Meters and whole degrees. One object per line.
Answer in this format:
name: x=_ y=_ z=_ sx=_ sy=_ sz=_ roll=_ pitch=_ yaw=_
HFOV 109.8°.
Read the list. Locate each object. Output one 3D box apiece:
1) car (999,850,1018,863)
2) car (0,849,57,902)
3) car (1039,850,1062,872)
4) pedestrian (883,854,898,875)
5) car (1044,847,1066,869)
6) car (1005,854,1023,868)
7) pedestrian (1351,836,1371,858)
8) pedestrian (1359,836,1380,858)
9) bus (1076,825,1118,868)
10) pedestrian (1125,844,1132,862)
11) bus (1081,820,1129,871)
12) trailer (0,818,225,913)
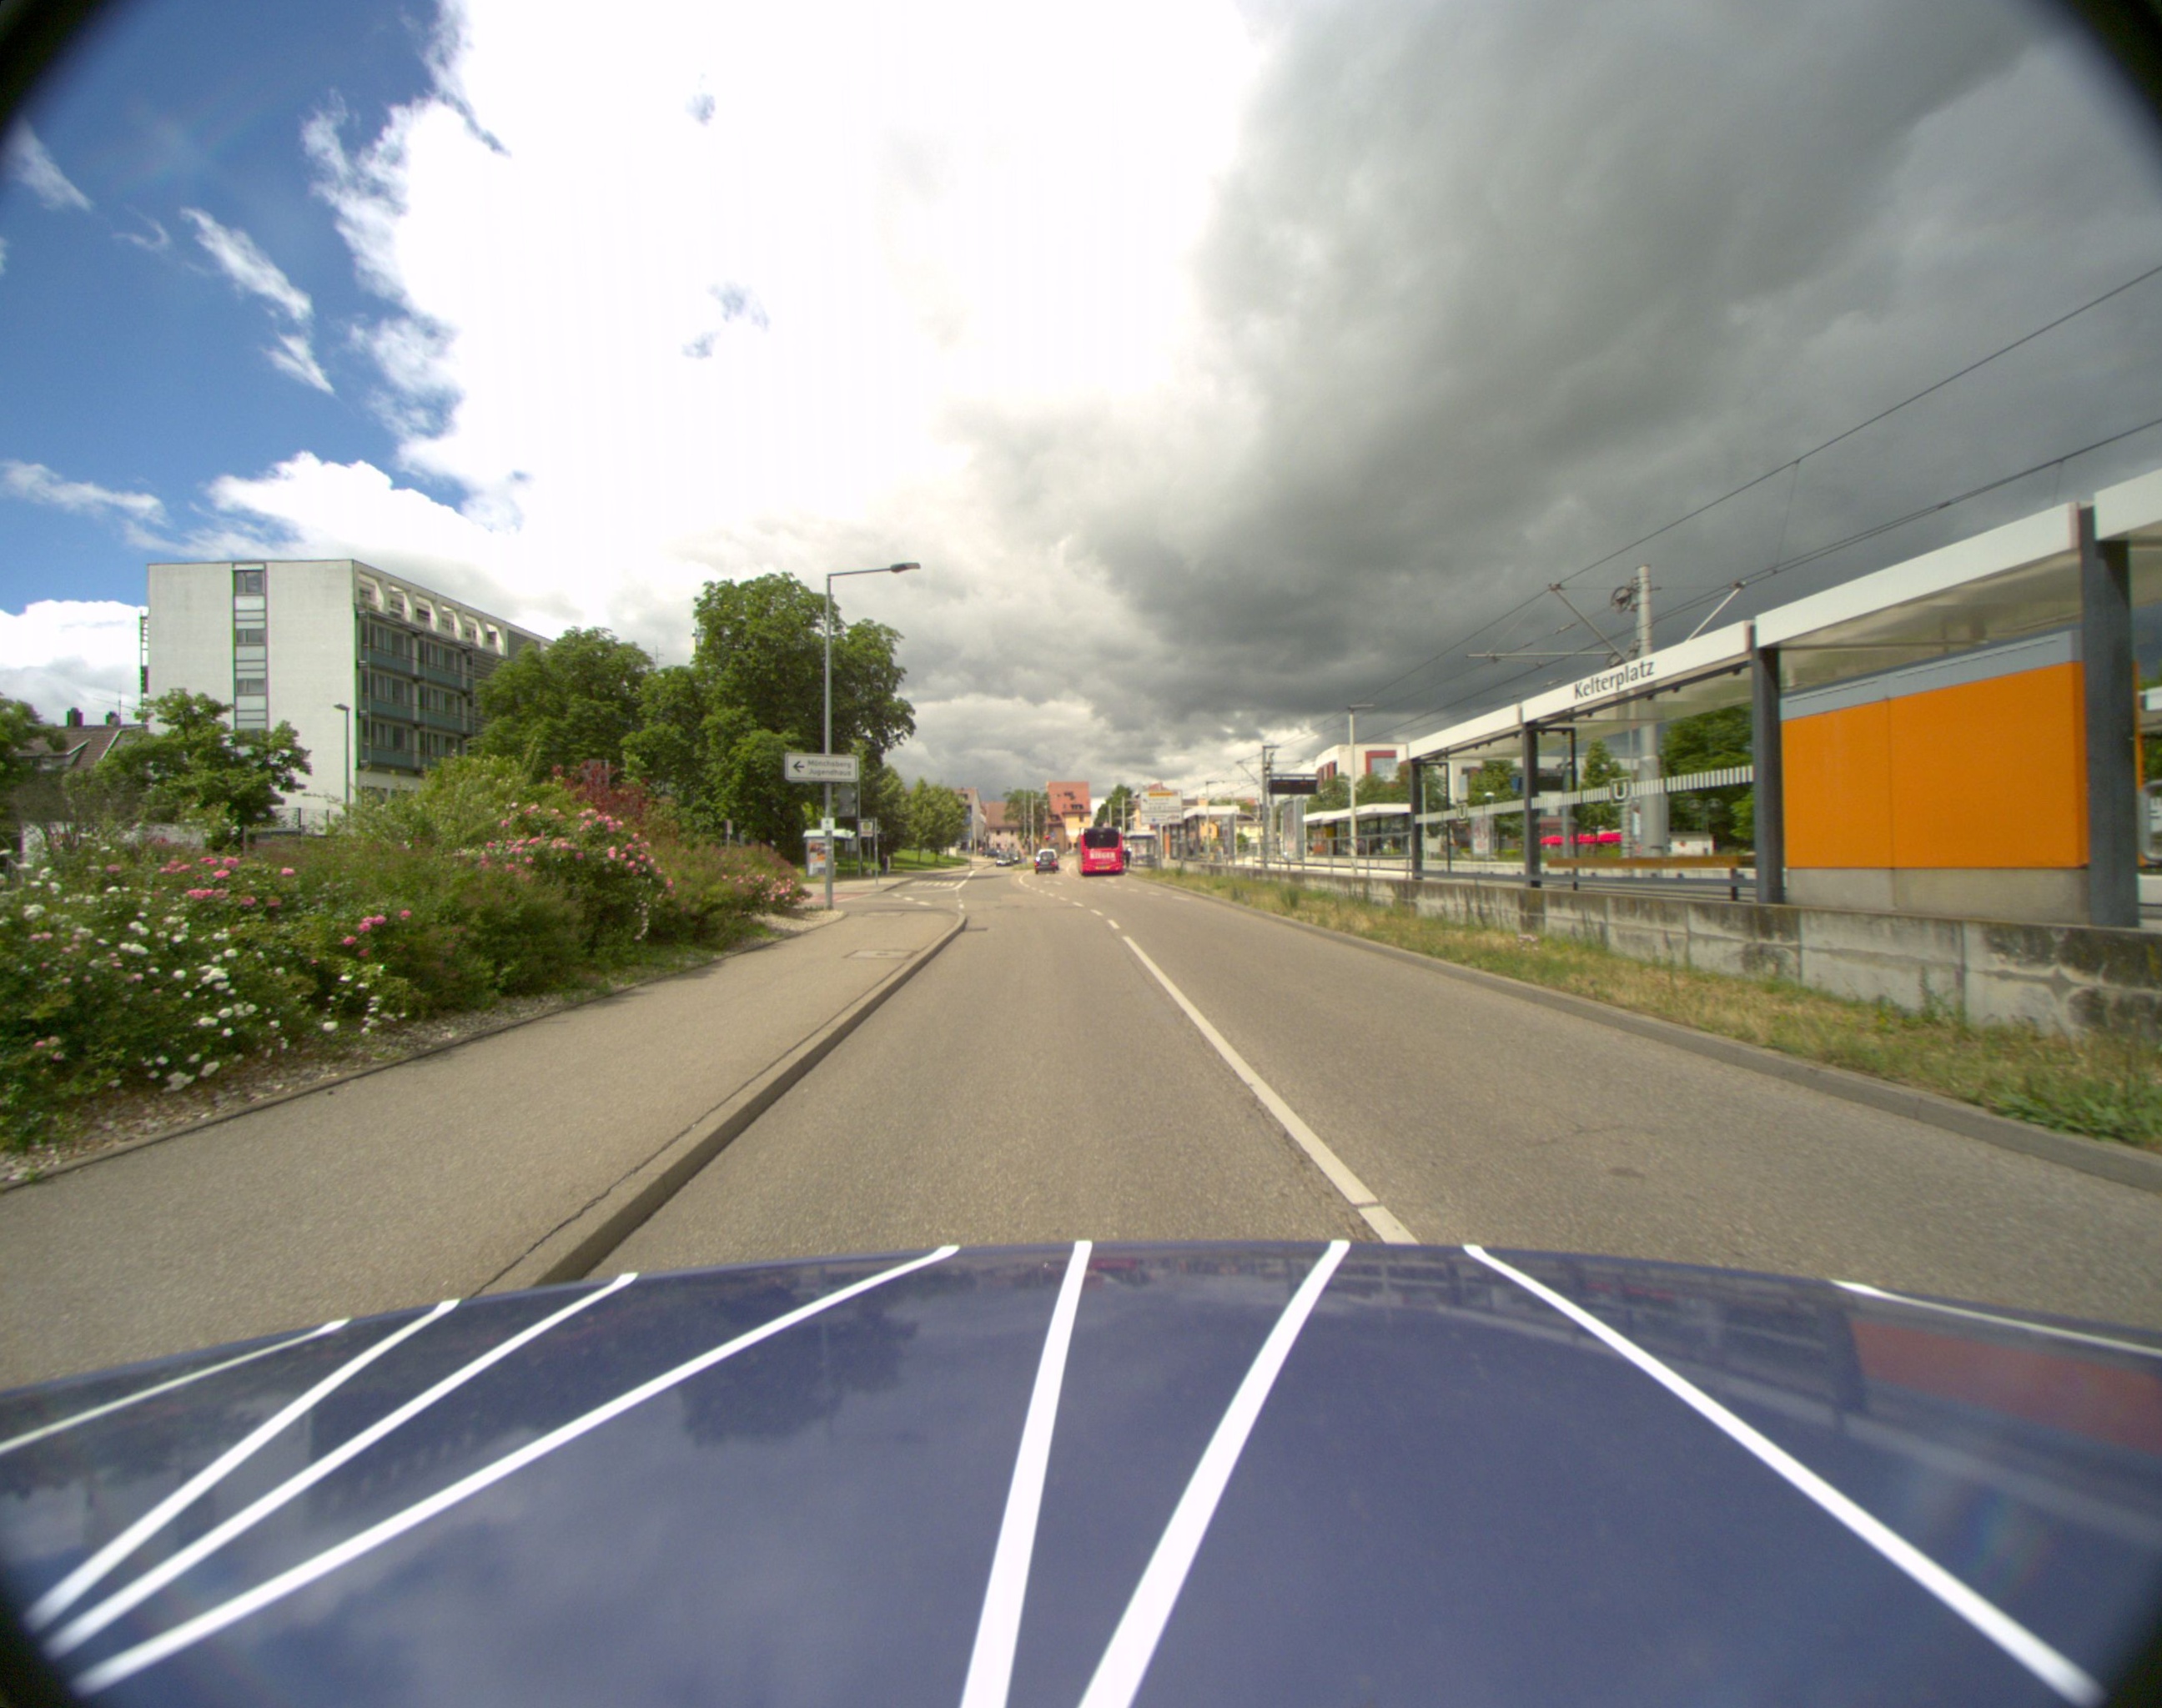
car: x=-8.366 y=0.293 z=88.214 sx=1.882 sy=1.420 sz=4.000 roll=-1 pitch=-1 yaw=-2
car: x=-32.208 y=0.593 z=21.297 sx=4.092 sy=1.493 sz=2.000 roll=0 pitch=-1 yaw=-3
car: x=-2.278 y=0.503 z=57.826 sx=1.533 sy=1.542 sz=3.732 roll=-3 pitch=1 yaw=0
pedestrian: x=-12.996 y=0.691 z=51.810 sx=0.821 sy=1.416 sz=0.829 roll=-1 pitch=2 yaw=-1
car: x=-2.290 y=0.372 z=65.144 sx=1.766 sy=1.652 sz=4.507 roll=0 pitch=-4 yaw=-3
car: x=-8.349 y=0.920 z=95.192 sx=1.999 sy=1.639 sz=4.420 roll=-1 pitch=-1 yaw=-1
pedestrian: x=16.661 y=-0.389 z=45.179 sx=0.759 sy=1.284 sz=1.112 roll=-1 pitch=1 yaw=0
pedestrian: x=16.698 y=-0.413 z=43.967 sx=0.759 sy=1.284 sz=1.112 roll=-1 pitch=1 yaw=0
bus: x=1.135 y=-0.571 z=59.687 sx=2.733 sy=3.091 sz=9.701 roll=-1 pitch=0 yaw=-2
pedestrian: x=3.614 y=-0.062 z=57.410 sx=0.423 sy=1.395 sz=0.408 roll=-1 pitch=-1 yaw=11
bus: x=1.448 y=-0.528 z=50.392 sx=2.733 sy=3.052 sz=8.962 roll=-1 pitch=0 yaw=-1
trailer: x=-27.833 y=0.339 z=21.504 sx=4.549 sy=2.472 sz=2.221 roll=-1 pitch=-1 yaw=-3
